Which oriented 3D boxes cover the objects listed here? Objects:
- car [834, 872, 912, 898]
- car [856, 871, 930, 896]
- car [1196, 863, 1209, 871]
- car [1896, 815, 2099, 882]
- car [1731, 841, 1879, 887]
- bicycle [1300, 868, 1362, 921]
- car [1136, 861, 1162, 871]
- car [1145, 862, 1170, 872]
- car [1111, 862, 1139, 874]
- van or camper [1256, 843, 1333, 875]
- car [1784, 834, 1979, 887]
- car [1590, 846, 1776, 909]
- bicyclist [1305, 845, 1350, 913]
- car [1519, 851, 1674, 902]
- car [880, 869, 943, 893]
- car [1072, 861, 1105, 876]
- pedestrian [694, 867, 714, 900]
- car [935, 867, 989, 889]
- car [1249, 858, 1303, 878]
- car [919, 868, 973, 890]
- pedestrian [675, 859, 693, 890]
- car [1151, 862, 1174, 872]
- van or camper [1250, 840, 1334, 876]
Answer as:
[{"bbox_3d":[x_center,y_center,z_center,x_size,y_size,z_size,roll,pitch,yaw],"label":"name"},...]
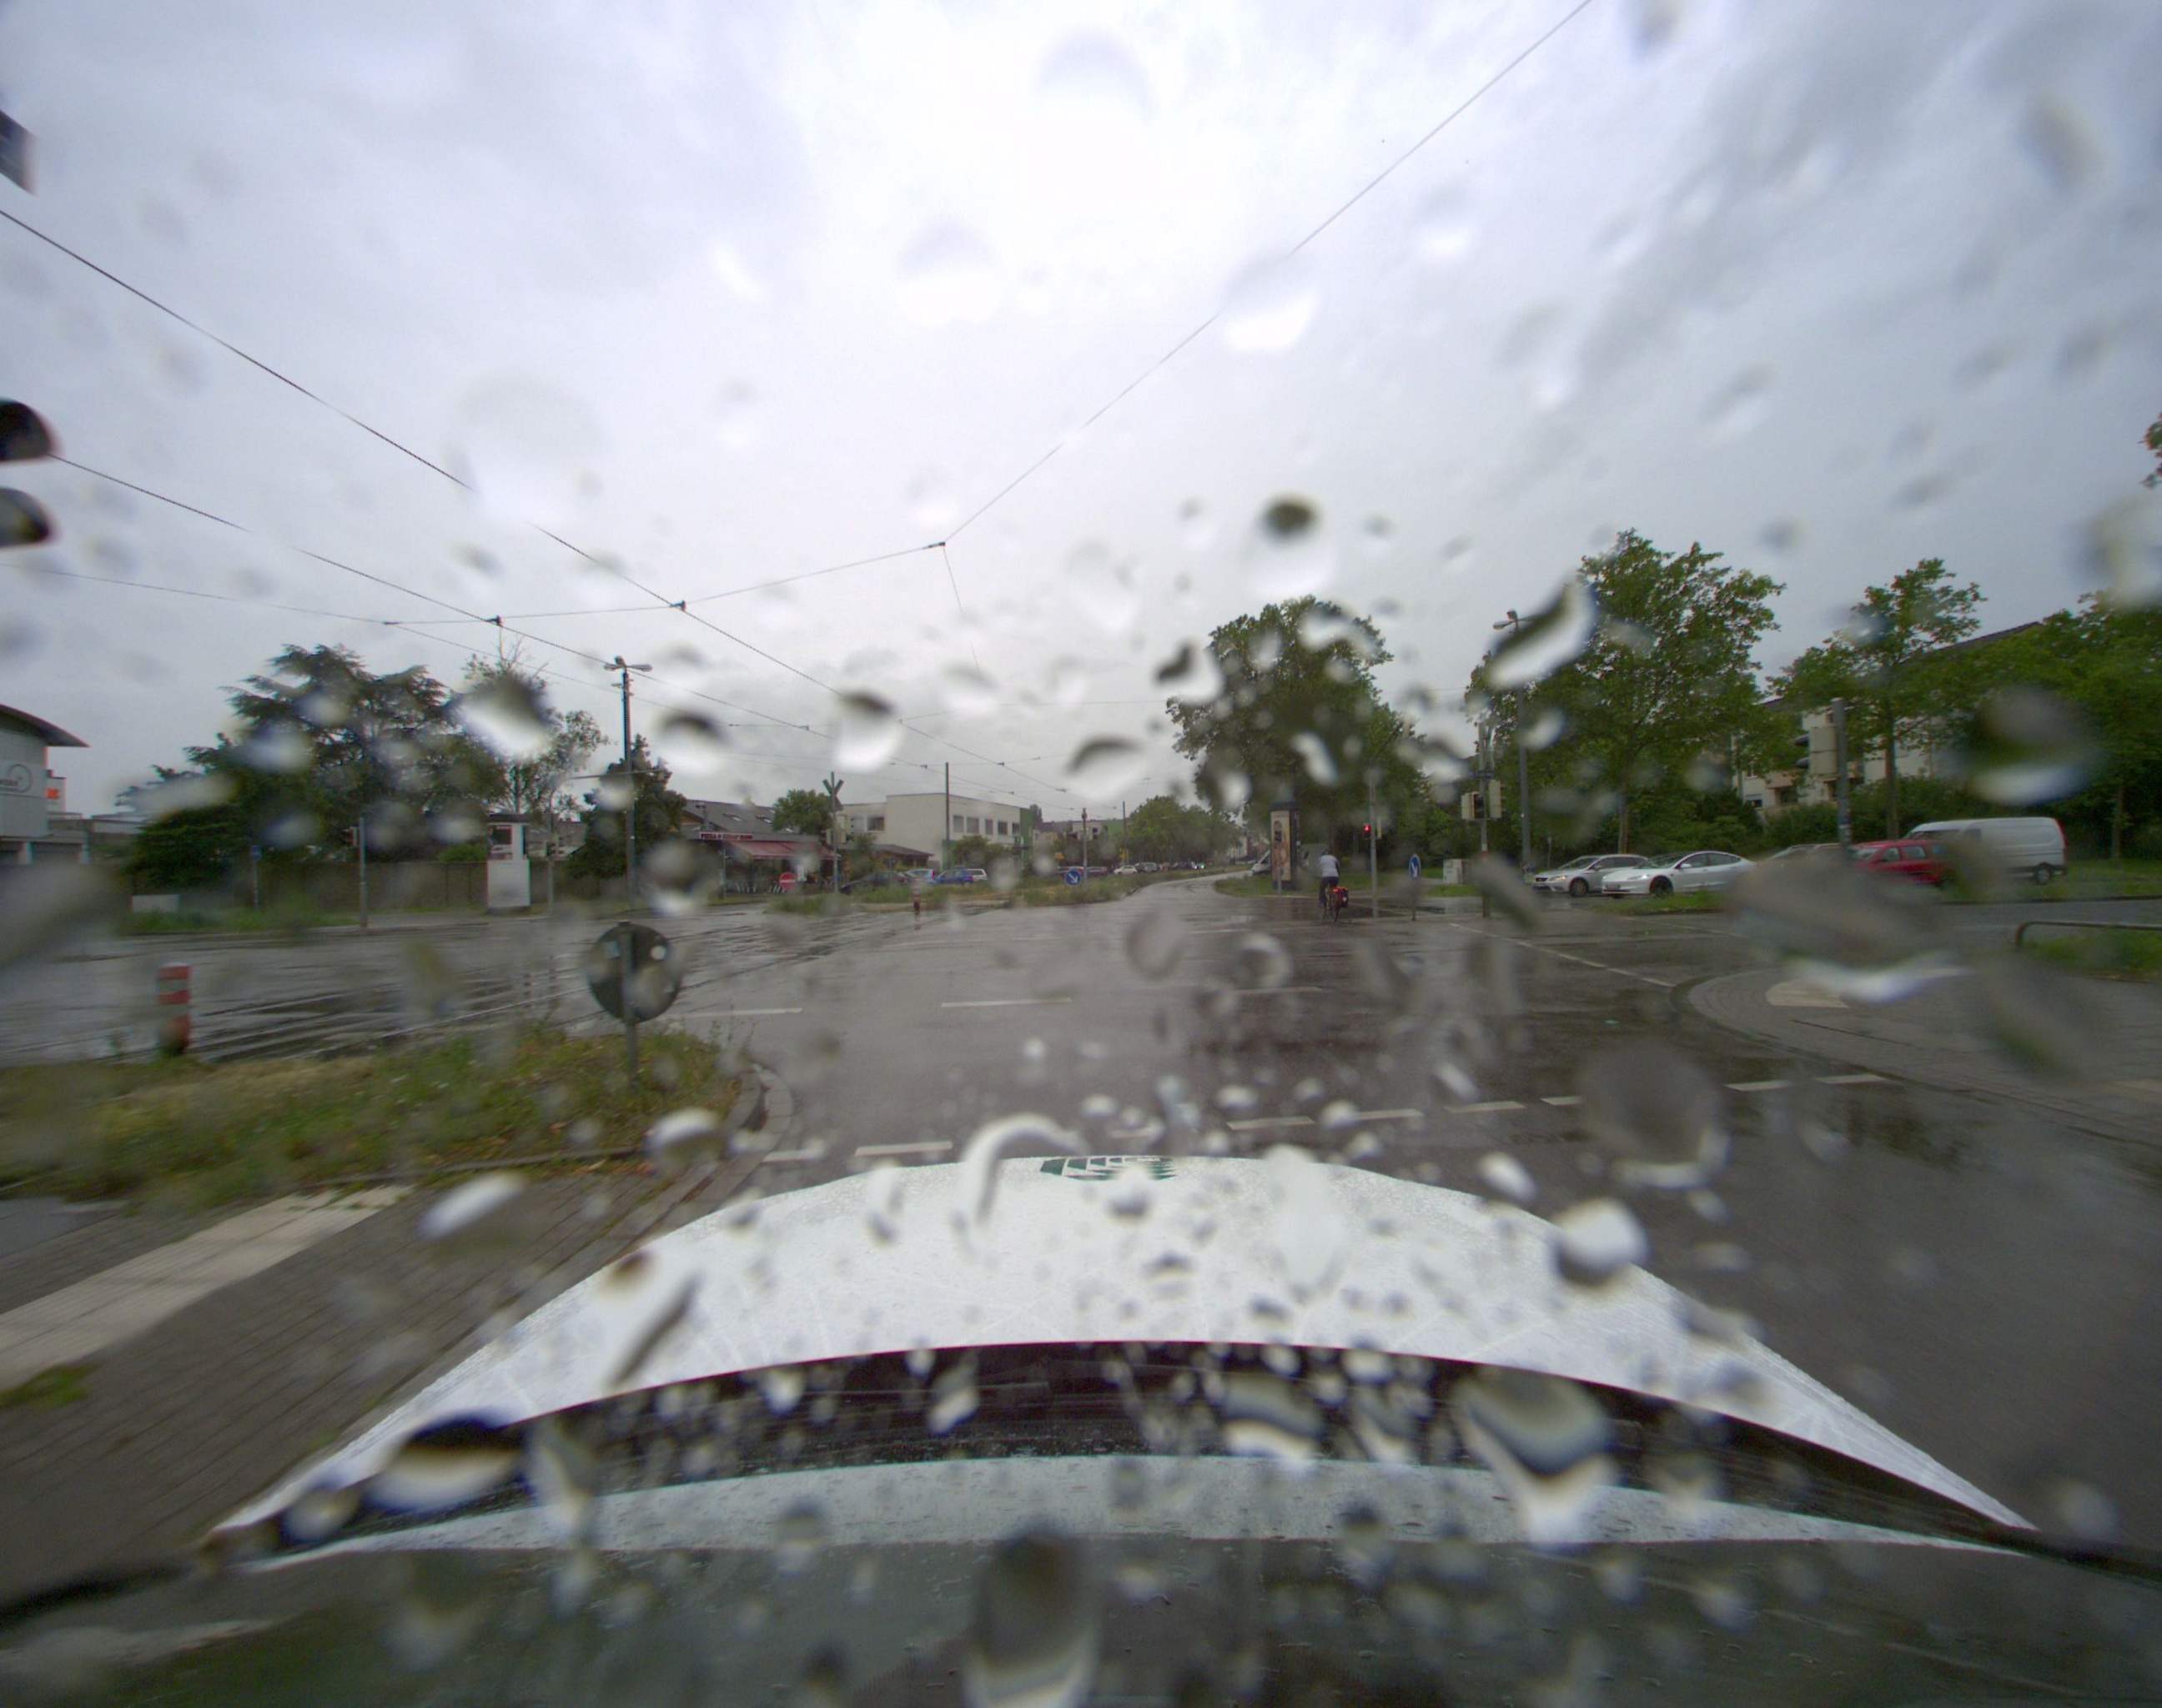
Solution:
[{"bbox_3d":[-13.212,1.954,51.941,4.464,1.418,1.858,-3,-1,-1],"label":"car"},{"bbox_3d":[-12.507,1.969,54.372,4.483,1.418,1.858,-3,-1,-1],"label":"car"},{"bbox_3d":[26.037,2.821,174.912,1.874,1.662,4.021,-1,-1,22],"label":"car"},{"bbox_3d":[33.663,-0.187,29.994,5.595,2.392,1.996,0,-1,-5],"label":"car"},{"bbox_3d":[25.982,0.363,29.302,4.053,1.607,1.786,0,-1,-8],"label":"car"},{"bbox_3d":[5.562,0.874,18.233,0.689,1.117,1.882,0,-2,-4],"label":"bicycle"},{"bbox_3d":[11.614,2.029,138.725,3.991,1.759,2.001,0,-1,-13],"label":"car"},{"bbox_3d":[13.887,2.301,147.810,3.991,1.832,1.991,0,-1,-13],"label":"car"},{"bbox_3d":[6.494,2.106,120.458,3.776,1.702,1.830,0,-1,-12],"label":"car"},{"bbox_3d":[21.884,0.596,83.453,7.363,3.178,3.279,-1,-1,20],"label":"van or camper"},{"bbox_3d":[25.042,0.211,25.562,4.595,1.607,1.788,0,-1,-4],"label":"car"},{"bbox_3d":[18.534,0.699,25.179,4.590,1.828,1.929,0,-1,-8],"label":"car"},{"bbox_3d":[5.547,0.559,18.375,0.689,1.506,0.843,0,-2,-4],"label":"bicyclist"},{"bbox_3d":[18.004,0.778,28.550,4.390,1.691,1.929,0,-1,-8],"label":"car"},{"bbox_3d":[-12.016,1.885,57.772,3.970,1.582,1.860,-1,-1,2],"label":"car"},{"bbox_3d":[0.892,1.819,103.497,3.985,1.888,1.994,0,-1,-8],"label":"car"},{"bbox_3d":[-20.906,1.629,45.194,0.875,1.797,0.731,0,-1,43],"label":"pedestrian"},{"bbox_3d":[-9.654,1.941,66.015,4.116,1.641,1.919,-1,-1,-16],"label":"car"},{"bbox_3d":[17.183,1.258,71.707,4.407,1.717,2.010,-1,-1,19],"label":"car"},{"bbox_3d":[-10.413,1.917,62.831,3.991,1.582,1.921,-1,-1,-13],"label":"car"},{"bbox_3d":[-26.254,1.374,53.901,0.785,2.014,0.729,-1,-1,24],"label":"pedestrian"},{"bbox_3d":[15.320,2.382,152.931,3.982,1.832,1.996,0,-1,-6],"label":"car"},{"bbox_3d":[19.381,0.420,74.647,7.266,3.178,3.276,0,-1,16],"label":"van or camper"}]
